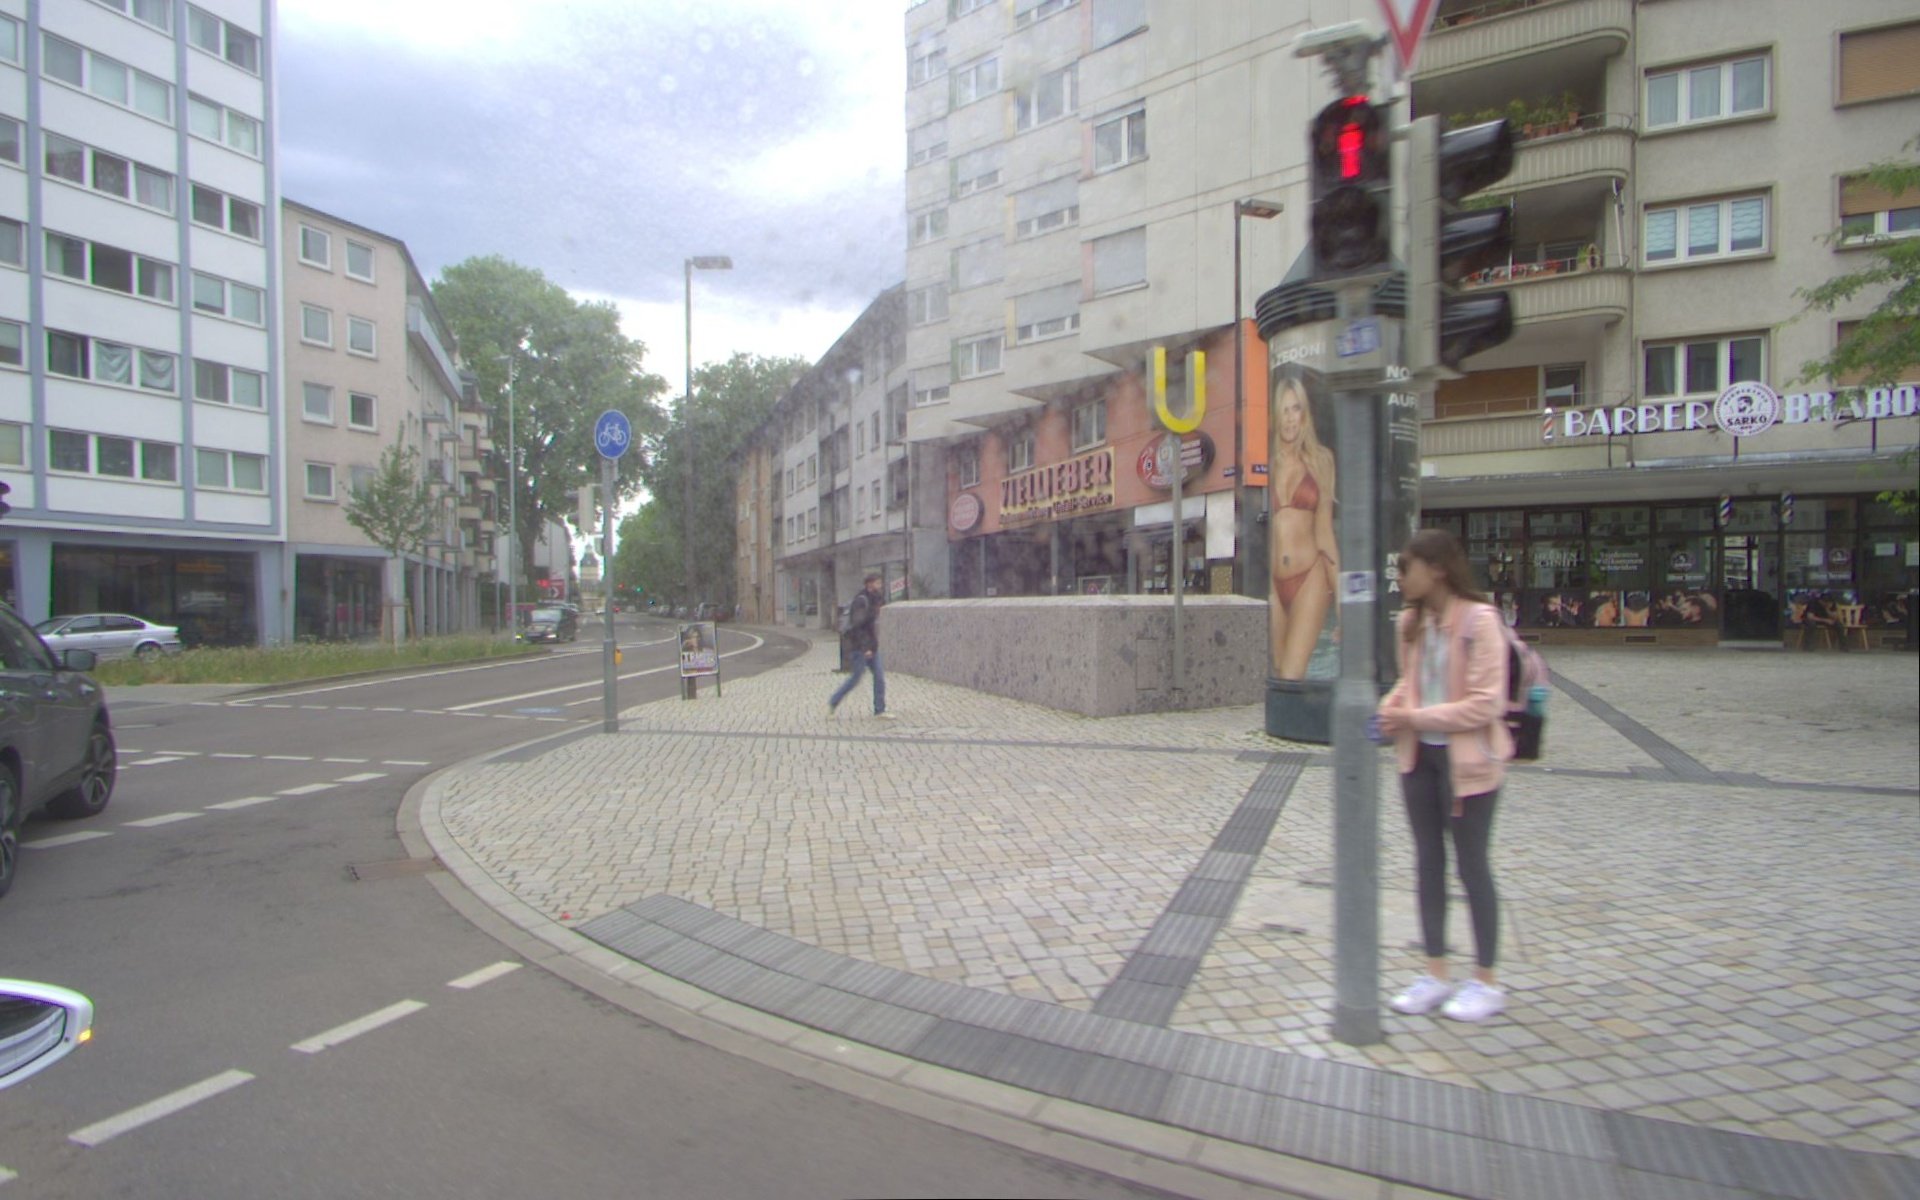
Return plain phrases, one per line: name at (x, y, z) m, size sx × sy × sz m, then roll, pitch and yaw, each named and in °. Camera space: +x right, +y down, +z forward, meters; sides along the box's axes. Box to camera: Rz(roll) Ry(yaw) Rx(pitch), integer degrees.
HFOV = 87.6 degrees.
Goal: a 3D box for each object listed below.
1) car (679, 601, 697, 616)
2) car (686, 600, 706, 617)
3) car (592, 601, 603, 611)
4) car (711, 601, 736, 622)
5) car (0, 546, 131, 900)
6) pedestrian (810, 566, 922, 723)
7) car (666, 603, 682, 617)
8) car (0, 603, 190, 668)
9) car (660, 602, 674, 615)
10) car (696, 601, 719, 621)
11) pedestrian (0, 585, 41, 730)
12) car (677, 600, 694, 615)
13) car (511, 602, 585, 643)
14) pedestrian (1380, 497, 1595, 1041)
car at (-32.855, 0.996, 120.747) m, size 1.837 × 1.798 × 3.974 m, roll 1°, pitch 0°, yaw -19°
car at (-28.456, 0.874, 107.864) m, size 1.837 × 1.798 × 3.974 m, roll 1°, pitch 0°, yaw -19°
car at (-64.476, 1.069, 178.168) m, size 1.837 × 1.798 × 3.974 m, roll 1°, pitch 0°, yaw -19°
car at (-21.234, 0.996, 89.900) m, size 1.837 × 1.798 × 3.974 m, roll 1°, pitch 0°, yaw -19°
car at (-6.496, 0.641, 5.937) m, size 1.844 × 1.797 × 4.540 m, roll 1°, pitch -2°, yaw -32°
pedestrian at (-1.192, 0.531, 12.697) m, size 1.137 × 1.888 × 0.800 m, roll 0°, pitch 2°, yaw 34°
car at (-39.191, 1.381, 137.277) m, size 1.837 × 1.798 × 3.974 m, roll 1°, pitch 0°, yaw -19°
car at (-22.764, 0.842, 25.653) m, size 1.718 × 1.501 × 4.555 m, roll -1°, pitch 0°, yaw 21°
car at (-44.441, 1.260, 151.976) m, size 1.837 × 1.798 × 3.974 m, roll 1°, pitch 0°, yaw -19°
car at (-24.385, 1.025, 96.547) m, size 1.837 × 1.798 × 3.974 m, roll 1°, pitch 0°, yaw -19°
pedestrian at (-12.134, 0.712, 12.535) m, size 0.765 × 1.784 × 0.622 m, roll 0°, pitch 0°, yaw 16°
car at (-34.478, 0.880, 125.878) m, size 1.837 × 1.798 × 3.974 m, roll 1°, pitch 0°, yaw -19°
car at (-16.365, 0.853, 39.975) m, size 1.715 × 1.501 × 4.563 m, roll -1°, pitch 0°, yaw -9°
pedestrian at (1.872, 0.561, 3.622) m, size 0.591 × 1.784 × 0.523 m, roll 0°, pitch 0°, yaw 16°
